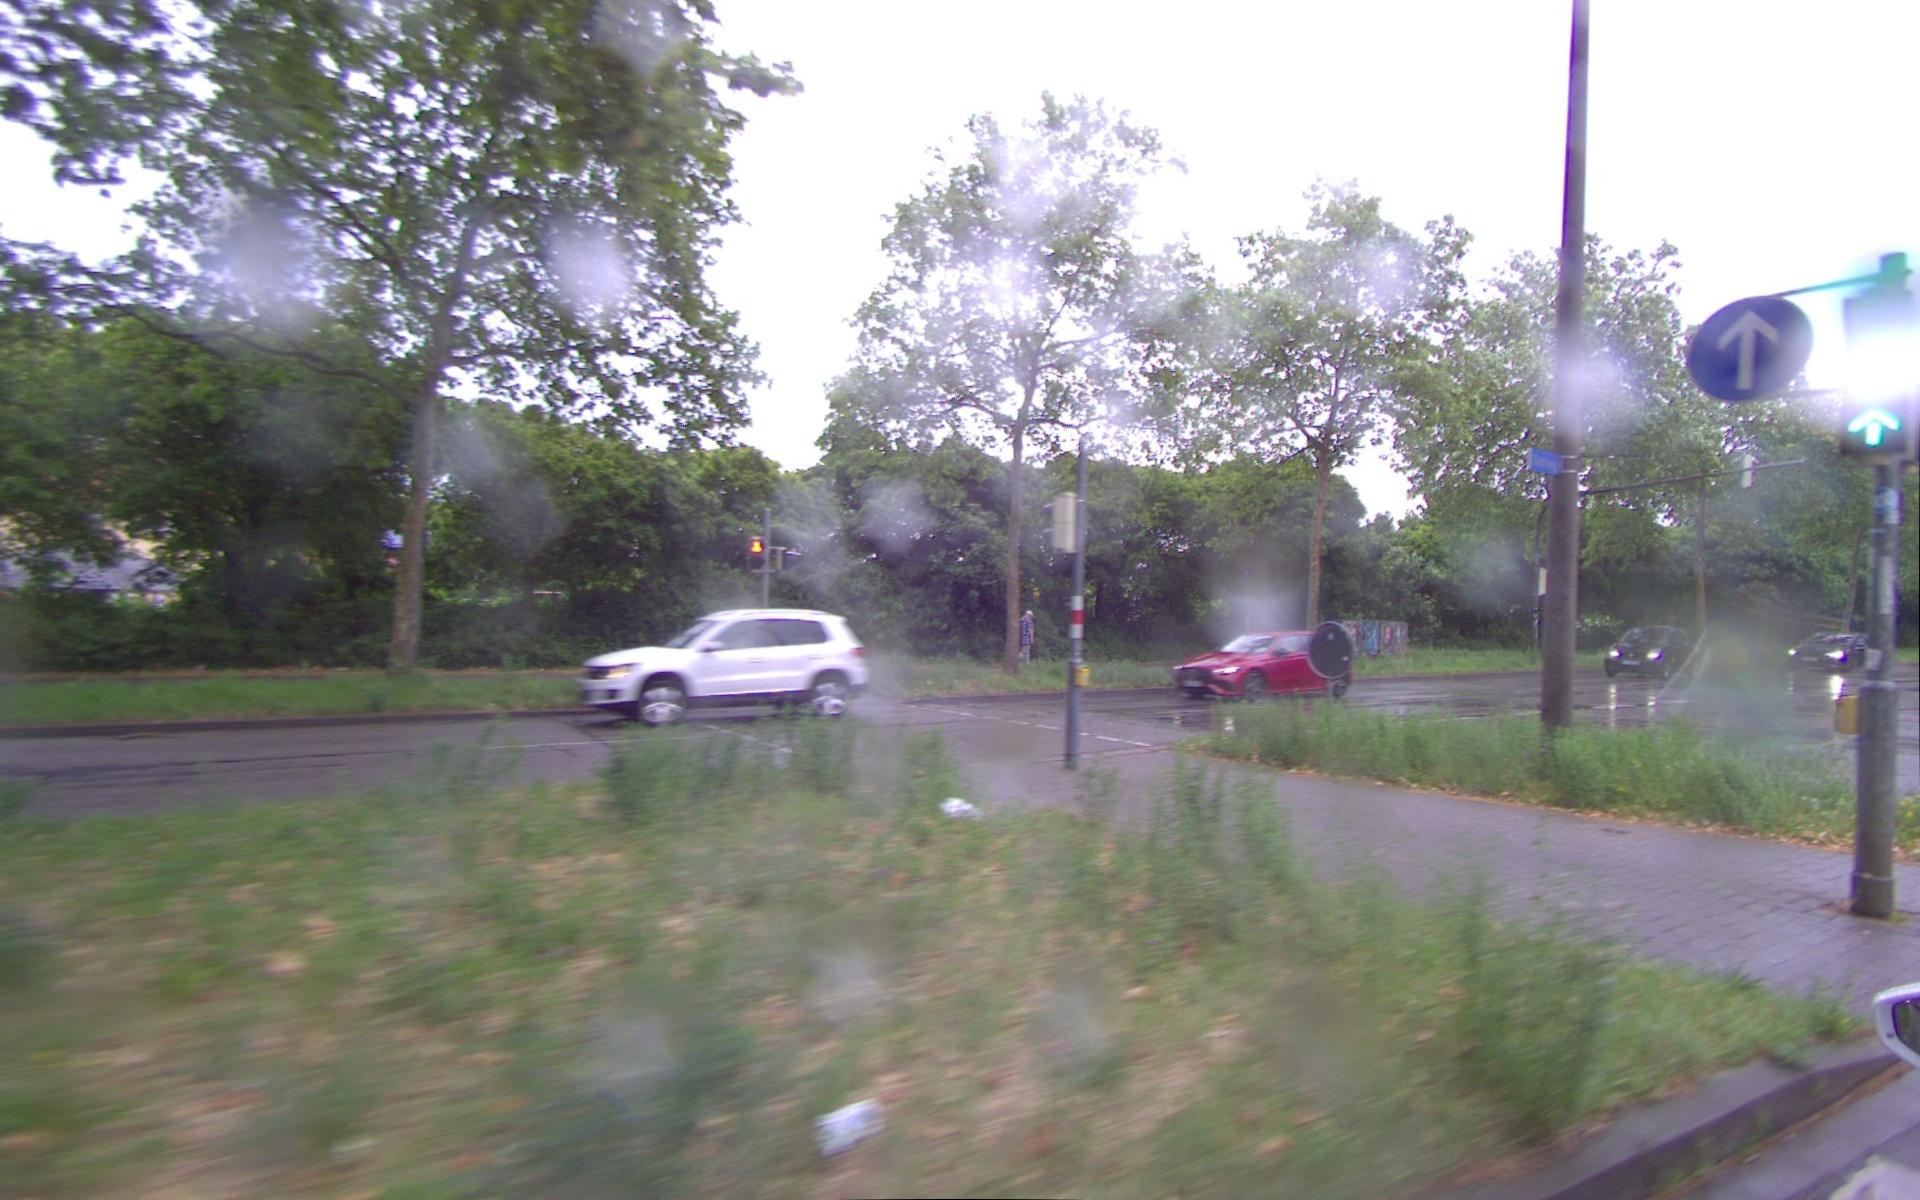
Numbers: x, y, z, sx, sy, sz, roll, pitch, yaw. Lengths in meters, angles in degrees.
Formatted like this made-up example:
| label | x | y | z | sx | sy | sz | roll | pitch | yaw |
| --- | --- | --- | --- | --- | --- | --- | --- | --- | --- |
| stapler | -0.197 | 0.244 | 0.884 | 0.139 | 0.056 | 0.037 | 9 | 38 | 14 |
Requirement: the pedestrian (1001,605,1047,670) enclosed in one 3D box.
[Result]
| label | x | y | z | sx | sy | sz | roll | pitch | yaw |
| --- | --- | --- | --- | --- | --- | --- | --- | --- | --- |
| pedestrian | 1.714 | 0.996 | 26.923 | 0.889 | 1.696 | 0.826 | 2 | -1 | -31 |

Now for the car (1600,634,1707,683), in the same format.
| label | x | y | z | sx | sy | sz | roll | pitch | yaw |
| --- | --- | --- | --- | --- | --- | --- | --- | --- | --- |
| car | 21.433 | 1.801 | 31.028 | 3.298 | 1.391 | 1.578 | 2 | -1 | -33 |

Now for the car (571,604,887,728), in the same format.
| label | x | y | z | sx | sy | sz | roll | pitch | yaw |
| --- | --- | --- | --- | --- | --- | --- | --- | --- | --- |
| car | -3.484 | 0.959 | 15.403 | 4.394 | 1.653 | 1.734 | 2 | -1 | -31 |

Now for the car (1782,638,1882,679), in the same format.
| label | x | y | z | sx | sy | sz | roll | pitch | yaw |
| --- | --- | --- | --- | --- | --- | --- | --- | --- | --- |
| car | 32.197 | 2.130 | 37.071 | 4.214 | 1.391 | 1.579 | 2 | -1 | -31 |

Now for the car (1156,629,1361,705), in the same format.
| label | x | y | z | sx | sy | sz | roll | pitch | yaw |
| --- | --- | --- | --- | --- | --- | --- | --- | --- | --- |
| car | 6.459 | 1.405 | 21.587 | 4.394 | 1.426 | 1.734 | 2 | -1 | -31 |
